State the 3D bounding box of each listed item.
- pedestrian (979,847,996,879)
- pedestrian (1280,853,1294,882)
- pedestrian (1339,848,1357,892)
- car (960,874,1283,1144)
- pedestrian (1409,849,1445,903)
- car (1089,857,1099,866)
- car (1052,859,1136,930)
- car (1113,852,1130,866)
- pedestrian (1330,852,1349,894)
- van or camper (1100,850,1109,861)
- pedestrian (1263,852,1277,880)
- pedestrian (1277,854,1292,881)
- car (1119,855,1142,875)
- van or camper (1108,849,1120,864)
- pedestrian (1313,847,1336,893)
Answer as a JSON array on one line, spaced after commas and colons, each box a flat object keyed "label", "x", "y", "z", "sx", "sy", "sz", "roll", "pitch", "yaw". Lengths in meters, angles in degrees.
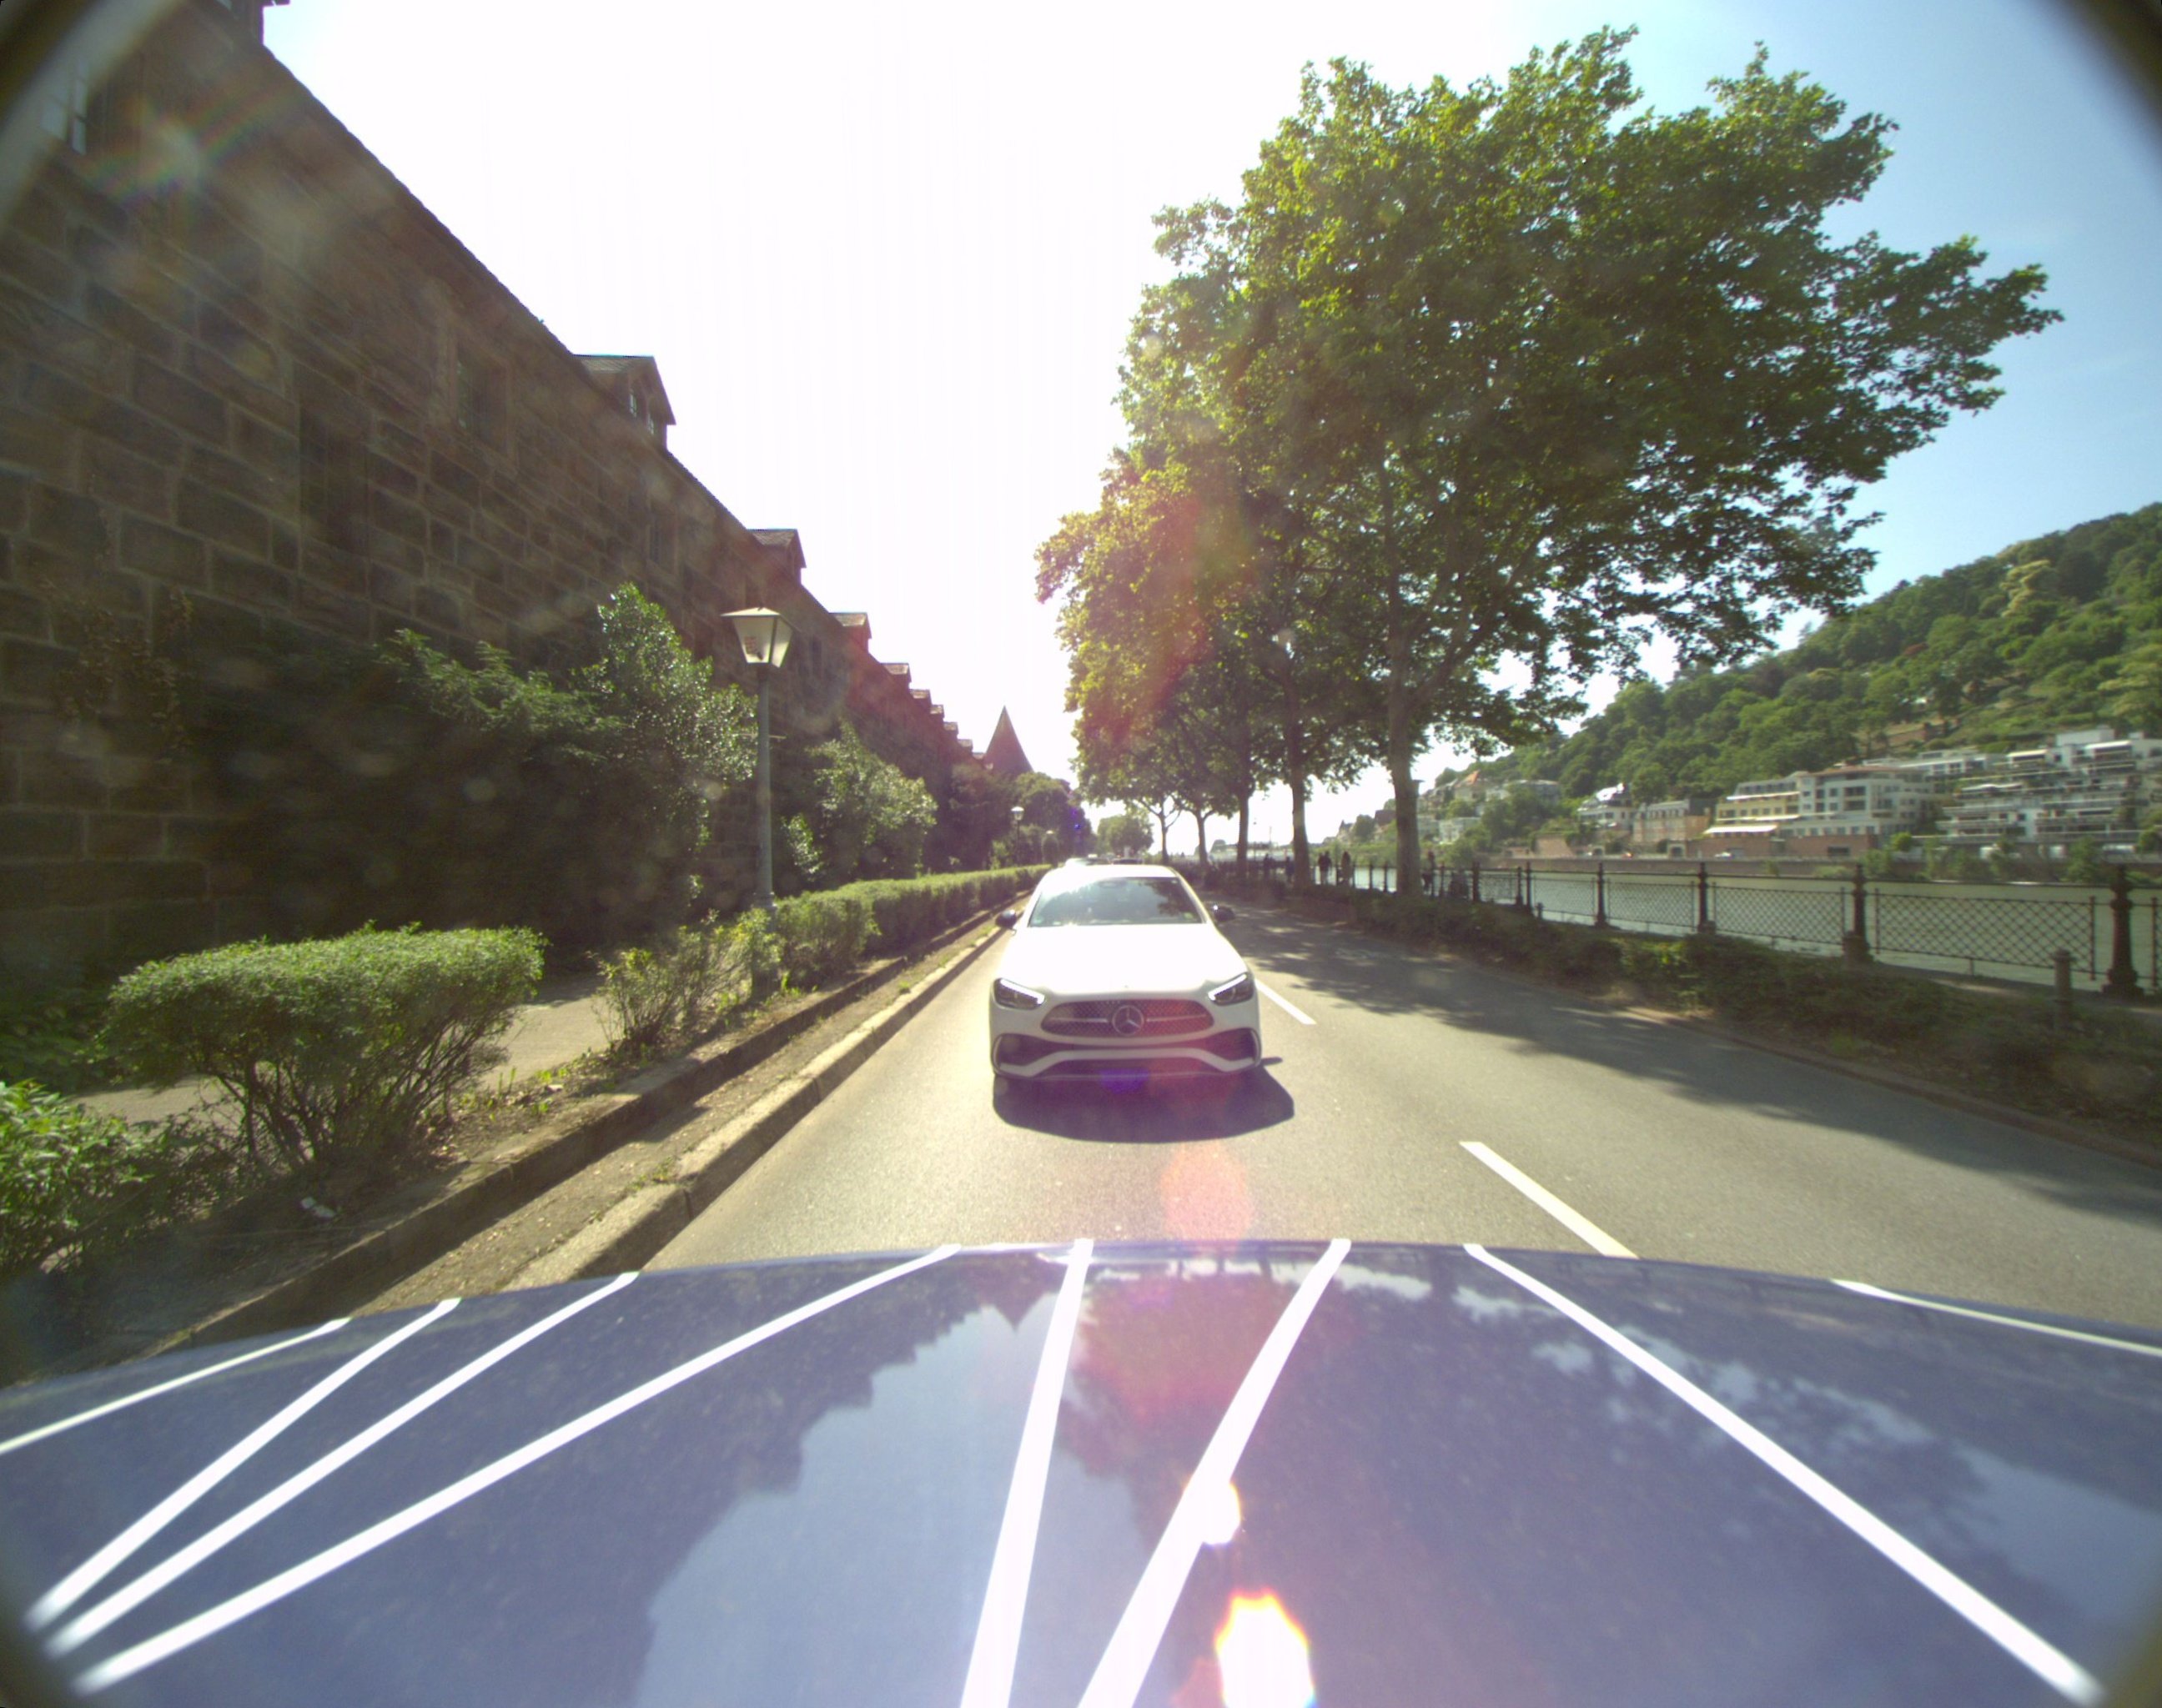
[{"label": "pedestrian", "x": -4.864, "y": 0.469, "z": 39.532, "sx": 0.700, "sy": 1.643, "sz": 0.705, "roll": 1, "pitch": 0, "yaw": 3}, {"label": "pedestrian", "x": 12.833, "y": 0.837, "z": 47.286, "sx": 0.705, "sy": 1.786, "sz": 0.705, "roll": 0, "pitch": 1, "yaw": 3}, {"label": "pedestrian", "x": 10.923, "y": 0.657, "z": 31.095, "sx": 0.518, "sy": 1.758, "sz": 0.592, "roll": 1, "pitch": 0, "yaw": 1}, {"label": "car", "x": 0.259, "y": 0.954, "z": 6.560, "sx": 1.829, "sy": 1.418, "sz": 4.359, "roll": -1, "pitch": 0, "yaw": 1}, {"label": "pedestrian", "x": 11.202, "y": 0.697, "z": 24.641, "sx": 0.695, "sy": 1.707, "sz": 0.874, "roll": -2, "pitch": 1, "yaw": -1}, {"label": "car", "x": 2.809, "y": 1.564, "z": 160.794, "sx": 1.923, "sy": 1.975, "sz": 3.999, "roll": 0, "pitch": 0, "yaw": -2}, {"label": "car", "x": 0.322, "y": 0.914, "z": 18.821, "sx": 1.854, "sy": 1.543, "sz": 3.849, "roll": 1, "pitch": 0, "yaw": 1}, {"label": "car", "x": 5.240, "y": 0.619, "z": 98.200, "sx": 1.882, "sy": 1.688, "sz": 4.258, "roll": 1, "pitch": 0, "yaw": 0}, {"label": "pedestrian", "x": 10.902, "y": 0.800, "z": 32.037, "sx": 0.616, "sy": 1.709, "sz": 0.455, "roll": -2, "pitch": 1, "yaw": 1}, {"label": "van or camper", "x": 6.091, "y": 0.399, "z": 196.901, "sx": 2.328, "sy": 2.646, "sz": 6.264, "roll": 1, "pitch": 0, "yaw": 0}, {"label": "pedestrian", "x": 11.725, "y": 0.747, "z": 47.097, "sx": 0.705, "sy": 1.721, "sz": 0.705, "roll": 0, "pitch": 1, "yaw": 3}, {"label": "pedestrian", "x": 12.212, "y": 0.794, "z": 45.624, "sx": 0.705, "sy": 1.594, "sz": 0.705, "roll": 0, "pitch": 1, "yaw": 3}, {"label": "car", "x": 4.204, "y": 0.922, "z": 65.256, "sx": 1.768, "sy": 1.638, "sz": 4.090, "roll": 1, "pitch": 0, "yaw": 1}, {"label": "van or camper", "x": 6.071, "y": 0.482, "z": 138.830, "sx": 1.965, "sy": 2.552, "sz": 5.841, "roll": 1, "pitch": 0, "yaw": 1}, {"label": "pedestrian", "x": 10.089, "y": 0.646, "z": 31.497, "sx": 0.642, "sy": 1.859, "sz": 0.806, "roll": 1, "pitch": 0, "yaw": 1}]
